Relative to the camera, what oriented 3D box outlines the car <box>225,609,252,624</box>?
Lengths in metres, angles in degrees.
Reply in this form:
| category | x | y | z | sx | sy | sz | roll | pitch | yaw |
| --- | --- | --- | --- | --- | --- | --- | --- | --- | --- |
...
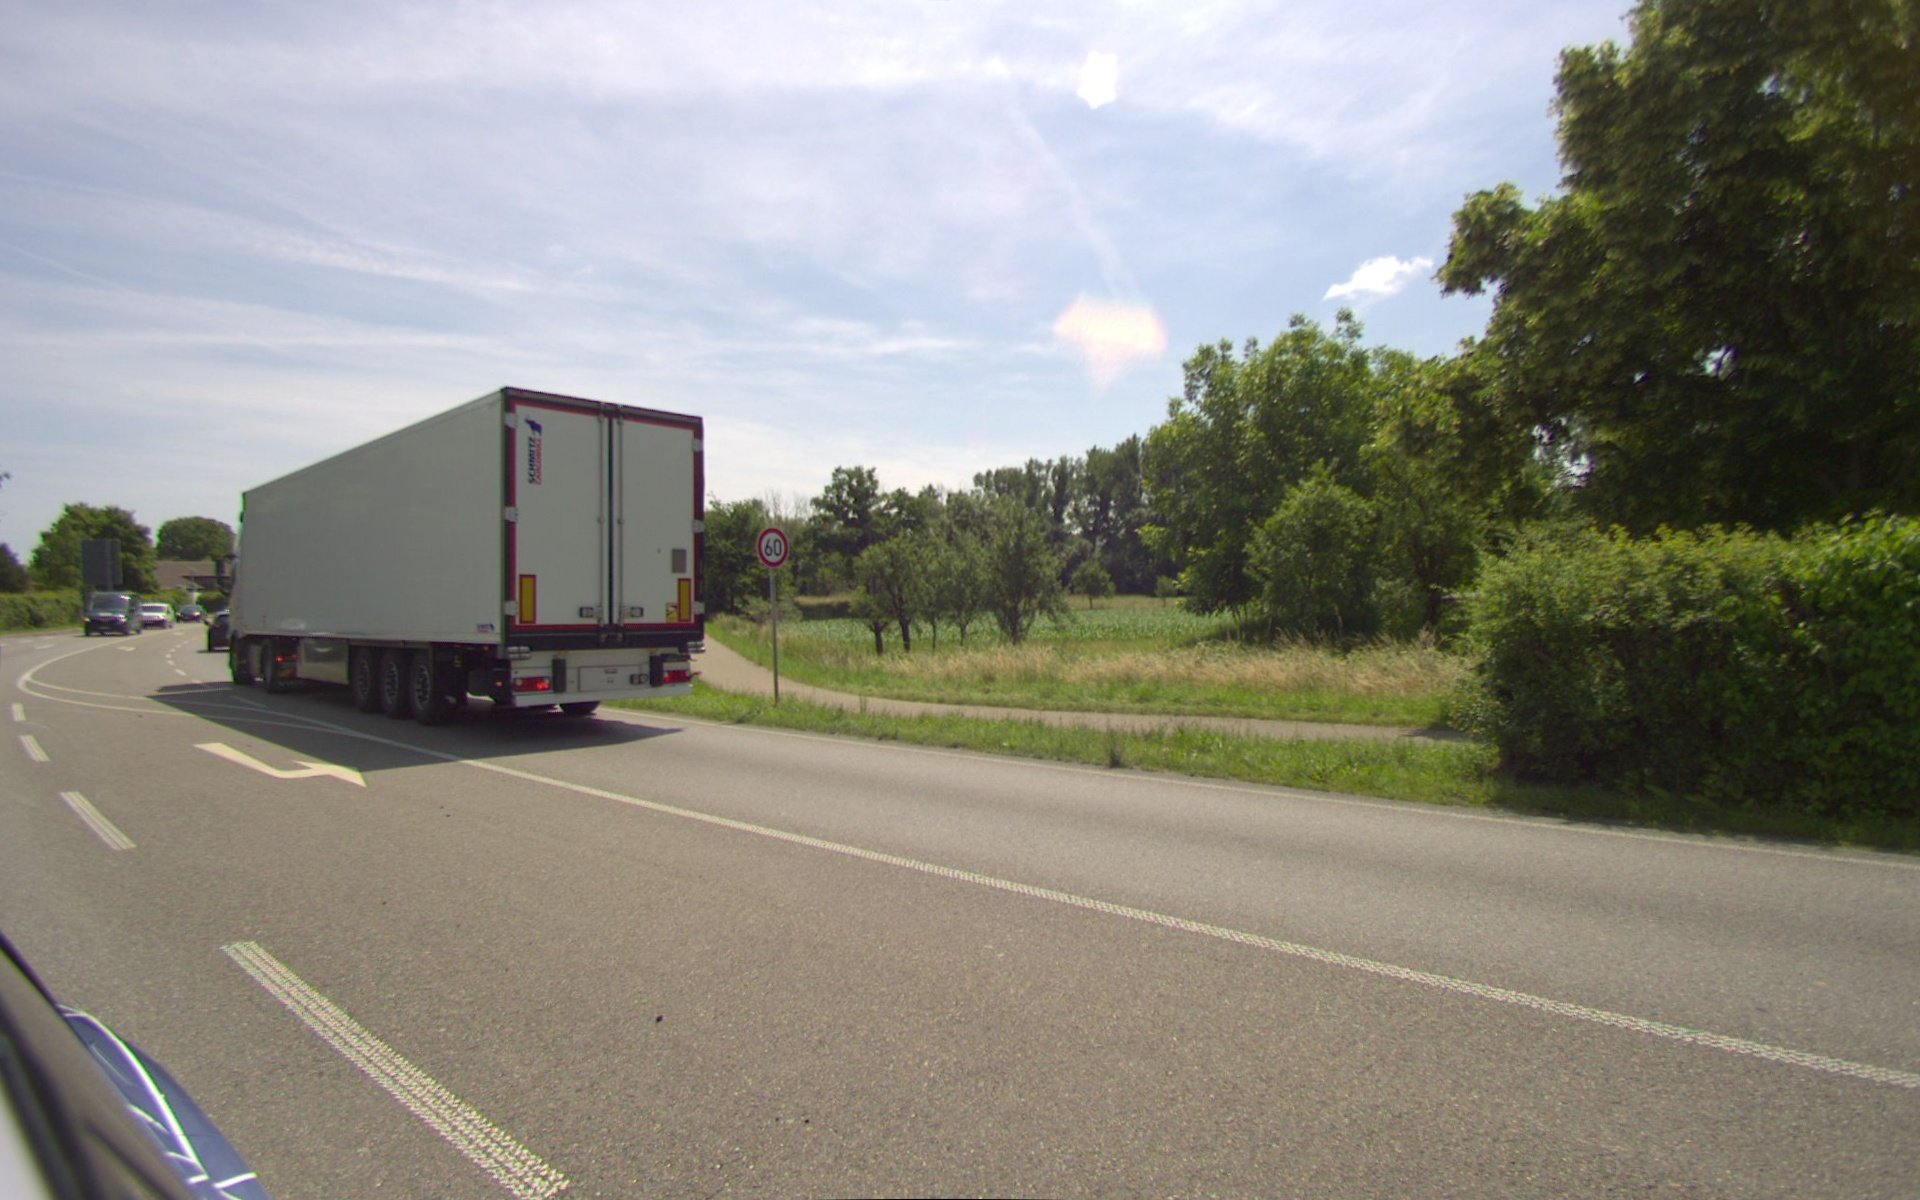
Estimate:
| category | x | y | z | sx | sy | sz | roll | pitch | yaw |
| --- | --- | --- | --- | --- | --- | --- | --- | --- | --- |
| car | -74.204 | 1.731 | 104.135 | 1.754 | 1.504 | 4.170 | 0 | -1 | -29 |

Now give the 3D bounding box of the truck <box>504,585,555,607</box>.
| category | x | y | z | sx | sy | sz | roll | pitch | yaw |
| --- | --- | --- | --- | --- | --- | --- | --- | --- | --- |
| truck | -96.079 | -0.880 | 226.234 | 2.713 | 4.643 | 16.125 | -1 | 0 | 7 |

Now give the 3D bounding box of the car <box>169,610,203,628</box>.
| category | x | y | z | sx | sy | sz | roll | pitch | yaw |
| --- | --- | --- | --- | --- | --- | --- | --- | --- | --- |
| car | -67.552 | 1.627 | 88.336 | 1.754 | 1.504 | 4.170 | 0 | -1 | -29 |

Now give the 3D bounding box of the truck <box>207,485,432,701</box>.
| category | x | y | z | sx | sy | sz | roll | pitch | yaw |
| --- | --- | --- | --- | --- | --- | --- | --- | --- | --- |
| truck | -13.782 | -0.038 | 21.625 | 5.707 | 3.973 | 2.746 | -2 | -3 | 44 |

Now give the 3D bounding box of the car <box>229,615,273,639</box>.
| category | x | y | z | sx | sy | sz | roll | pitch | yaw |
| --- | --- | --- | --- | --- | --- | --- | --- | --- | --- |
| car | -45.375 | 1.723 | 64.815 | 1.593 | 1.473 | 4.013 | 0 | -1 | -25 |

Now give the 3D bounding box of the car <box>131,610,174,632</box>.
| category | x | y | z | sx | sy | sz | roll | pitch | yaw |
| --- | --- | --- | --- | --- | --- | --- | --- | --- | --- |
| car | -57.953 | 1.497 | 72.679 | 1.754 | 1.504 | 4.170 | 0 | -1 | -29 |

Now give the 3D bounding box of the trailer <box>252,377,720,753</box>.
| category | x | y | z | sx | sy | sz | roll | pitch | yaw |
| --- | --- | --- | --- | --- | --- | --- | --- | --- | --- |
| trailer | -8.266 | -0.243 | 16.173 | 11.663 | 4.133 | 2.747 | -2 | -3 | 44 |

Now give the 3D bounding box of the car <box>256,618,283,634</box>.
| category | x | y | z | sx | sy | sz | roll | pitch | yaw |
| --- | --- | --- | --- | --- | --- | --- | --- | --- | --- |
| car | -79.265 | 2.978 | 116.233 | 1.779 | 1.746 | 4.013 | -2 | -1 | -23 |

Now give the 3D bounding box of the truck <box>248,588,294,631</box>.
| category | x | y | z | sx | sy | sz | roll | pitch | yaw |
| --- | --- | --- | --- | --- | --- | --- | --- | --- | --- |
| truck | -59.229 | 0.808 | 87.140 | 2.927 | 3.597 | 6.918 | 0 | -1 | -32 |

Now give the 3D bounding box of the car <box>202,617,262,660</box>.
| category | x | y | z | sx | sy | sz | roll | pitch | yaw |
| --- | --- | --- | --- | --- | --- | --- | --- | --- | --- |
| car | -28.774 | 1.484 | 40.076 | 1.594 | 1.570 | 4.012 | 0 | -1 | -31 |

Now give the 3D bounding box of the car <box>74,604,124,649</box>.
| category | x | y | z | sx | sy | sz | roll | pitch | yaw |
| --- | --- | --- | --- | --- | --- | --- | --- | --- | --- |
| car | -50.080 | 1.512 | 58.869 | 1.953 | 2.538 | 4.160 | 0 | -1 | -44 |
